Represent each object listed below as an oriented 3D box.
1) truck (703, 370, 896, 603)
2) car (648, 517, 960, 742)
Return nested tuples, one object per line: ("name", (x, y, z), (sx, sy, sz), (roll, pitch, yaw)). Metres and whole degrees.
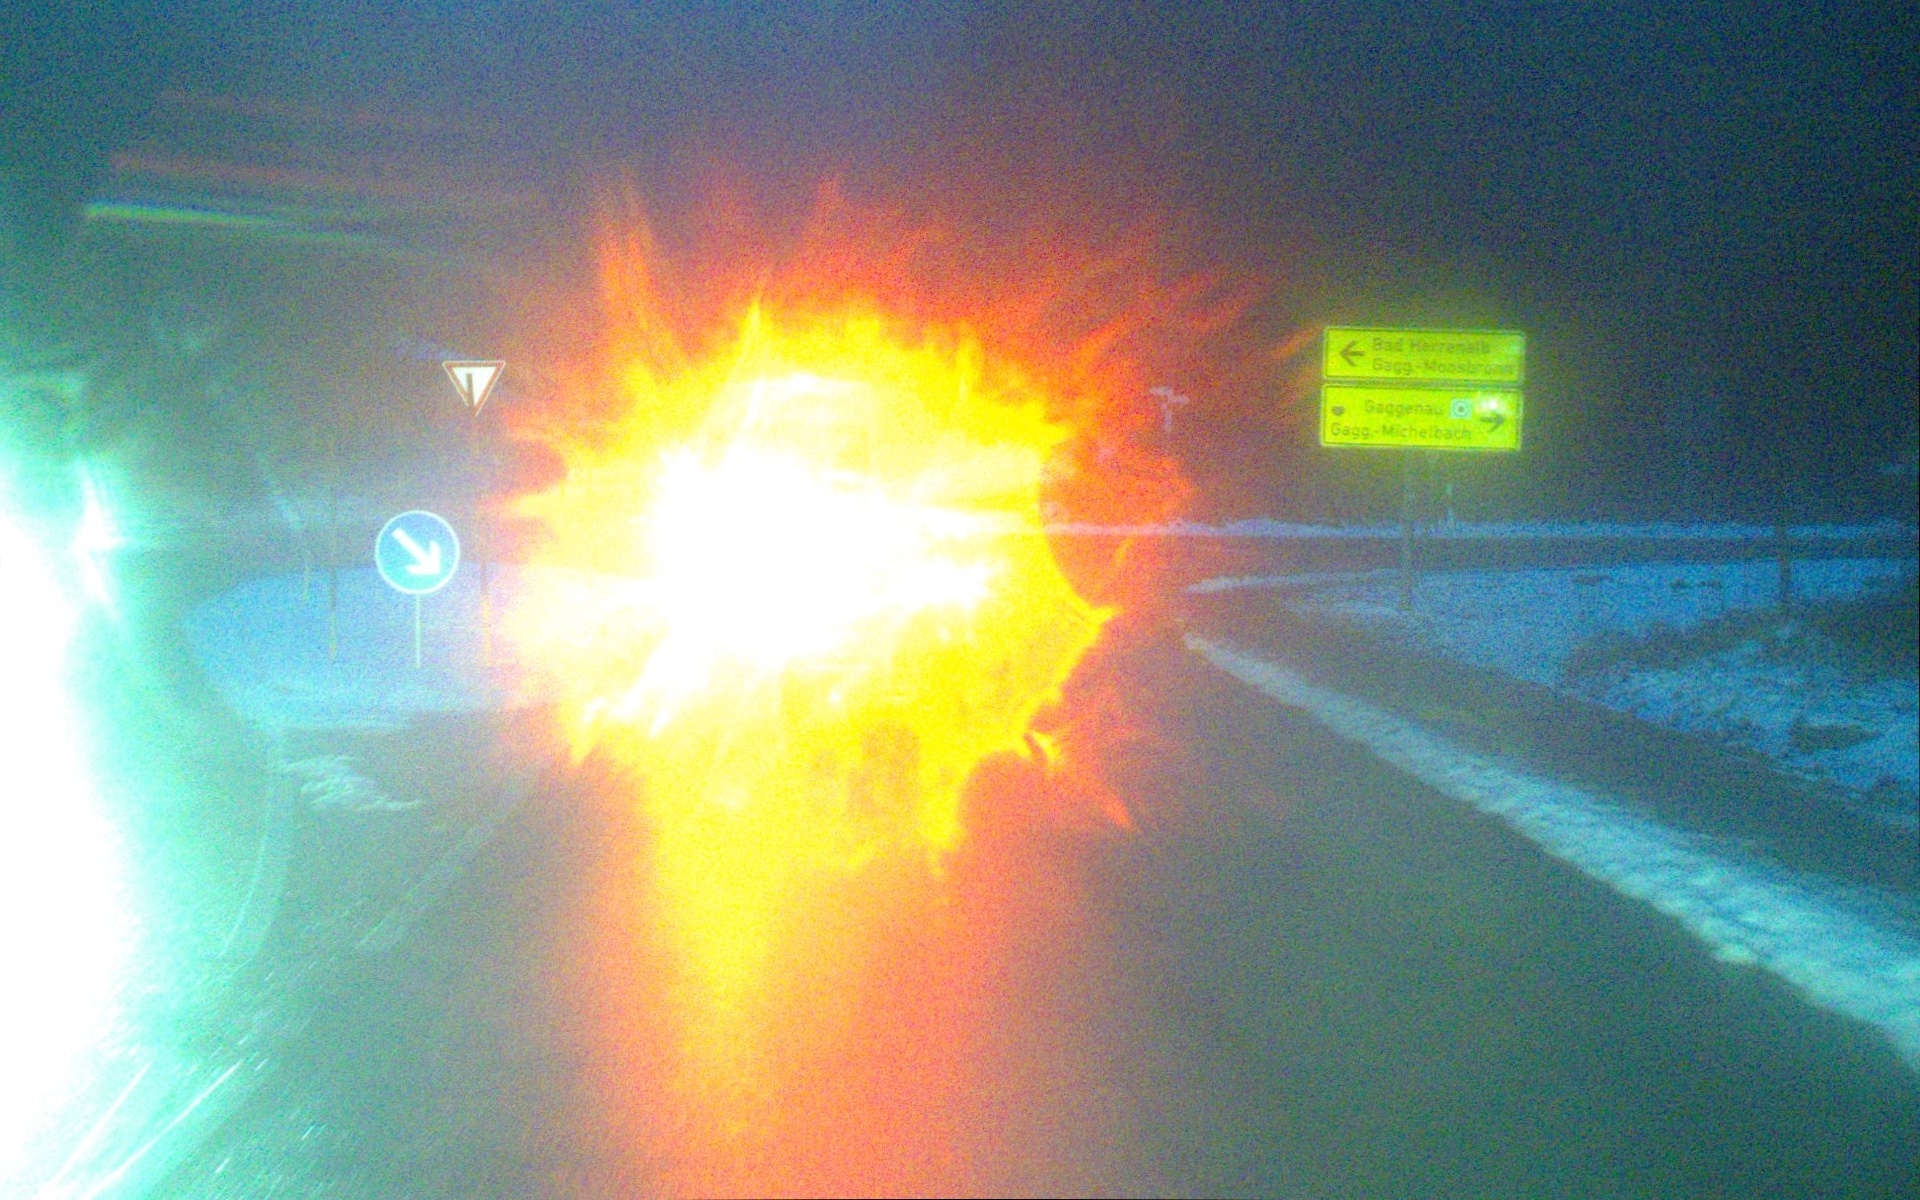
("truck", (-2.120, -1.438, 43.882), (2.075, 2.736, 5.321), (1, 2, -6))
("car", (-1.076, 0.136, 23.437), (1.921, 1.272, 4.001), (1, 3, -3))
